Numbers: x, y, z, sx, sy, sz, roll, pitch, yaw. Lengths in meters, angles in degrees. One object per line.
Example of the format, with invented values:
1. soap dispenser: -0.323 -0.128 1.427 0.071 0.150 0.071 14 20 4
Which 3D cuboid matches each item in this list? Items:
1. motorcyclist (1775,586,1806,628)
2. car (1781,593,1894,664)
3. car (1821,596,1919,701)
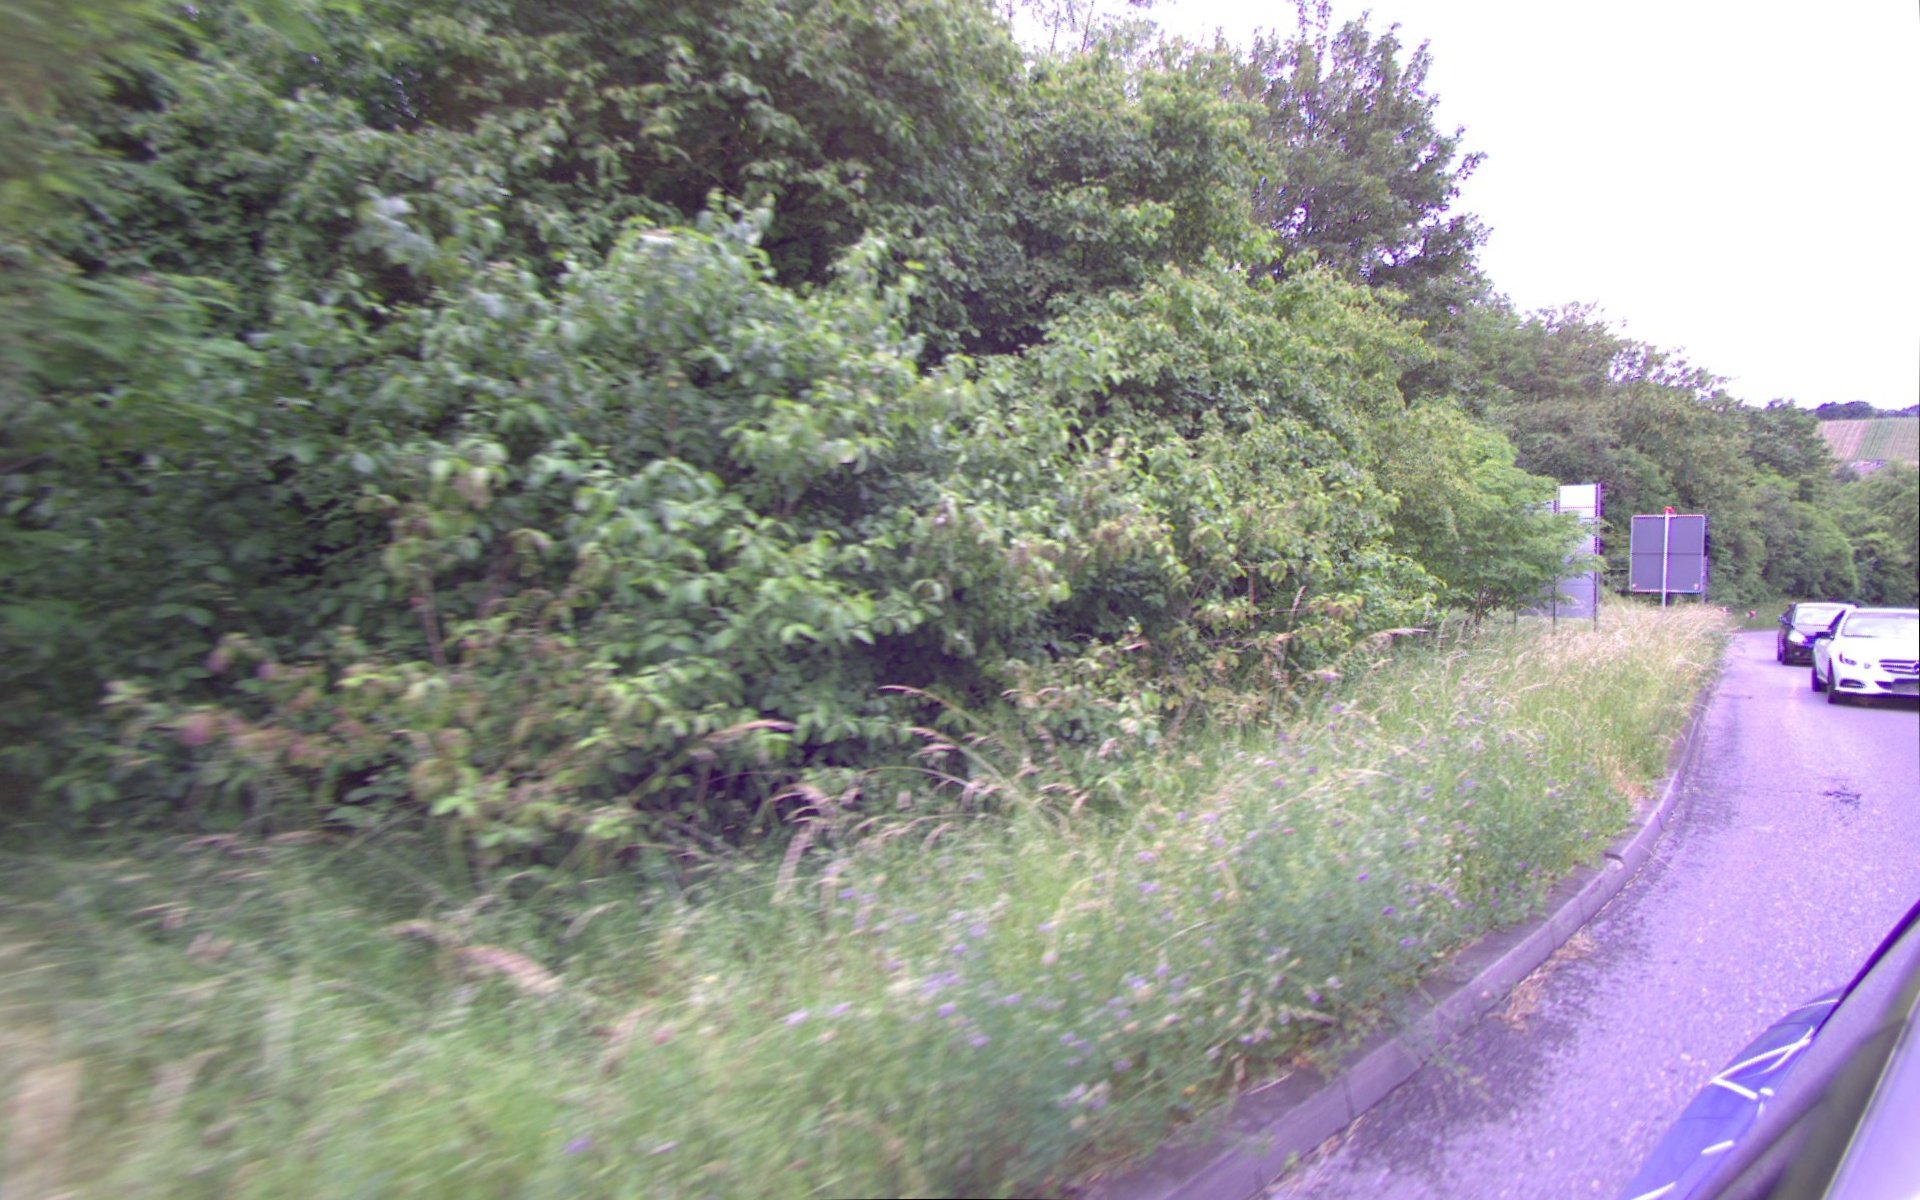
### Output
1. motorcyclist: 29.753 0.254 36.273 0.815 1.484 0.776 0 0 38
2. car: 21.716 0.657 25.180 1.814 1.564 3.675 3 2 37
3. car: 14.554 0.677 15.470 1.878 1.440 3.946 1 1 37
